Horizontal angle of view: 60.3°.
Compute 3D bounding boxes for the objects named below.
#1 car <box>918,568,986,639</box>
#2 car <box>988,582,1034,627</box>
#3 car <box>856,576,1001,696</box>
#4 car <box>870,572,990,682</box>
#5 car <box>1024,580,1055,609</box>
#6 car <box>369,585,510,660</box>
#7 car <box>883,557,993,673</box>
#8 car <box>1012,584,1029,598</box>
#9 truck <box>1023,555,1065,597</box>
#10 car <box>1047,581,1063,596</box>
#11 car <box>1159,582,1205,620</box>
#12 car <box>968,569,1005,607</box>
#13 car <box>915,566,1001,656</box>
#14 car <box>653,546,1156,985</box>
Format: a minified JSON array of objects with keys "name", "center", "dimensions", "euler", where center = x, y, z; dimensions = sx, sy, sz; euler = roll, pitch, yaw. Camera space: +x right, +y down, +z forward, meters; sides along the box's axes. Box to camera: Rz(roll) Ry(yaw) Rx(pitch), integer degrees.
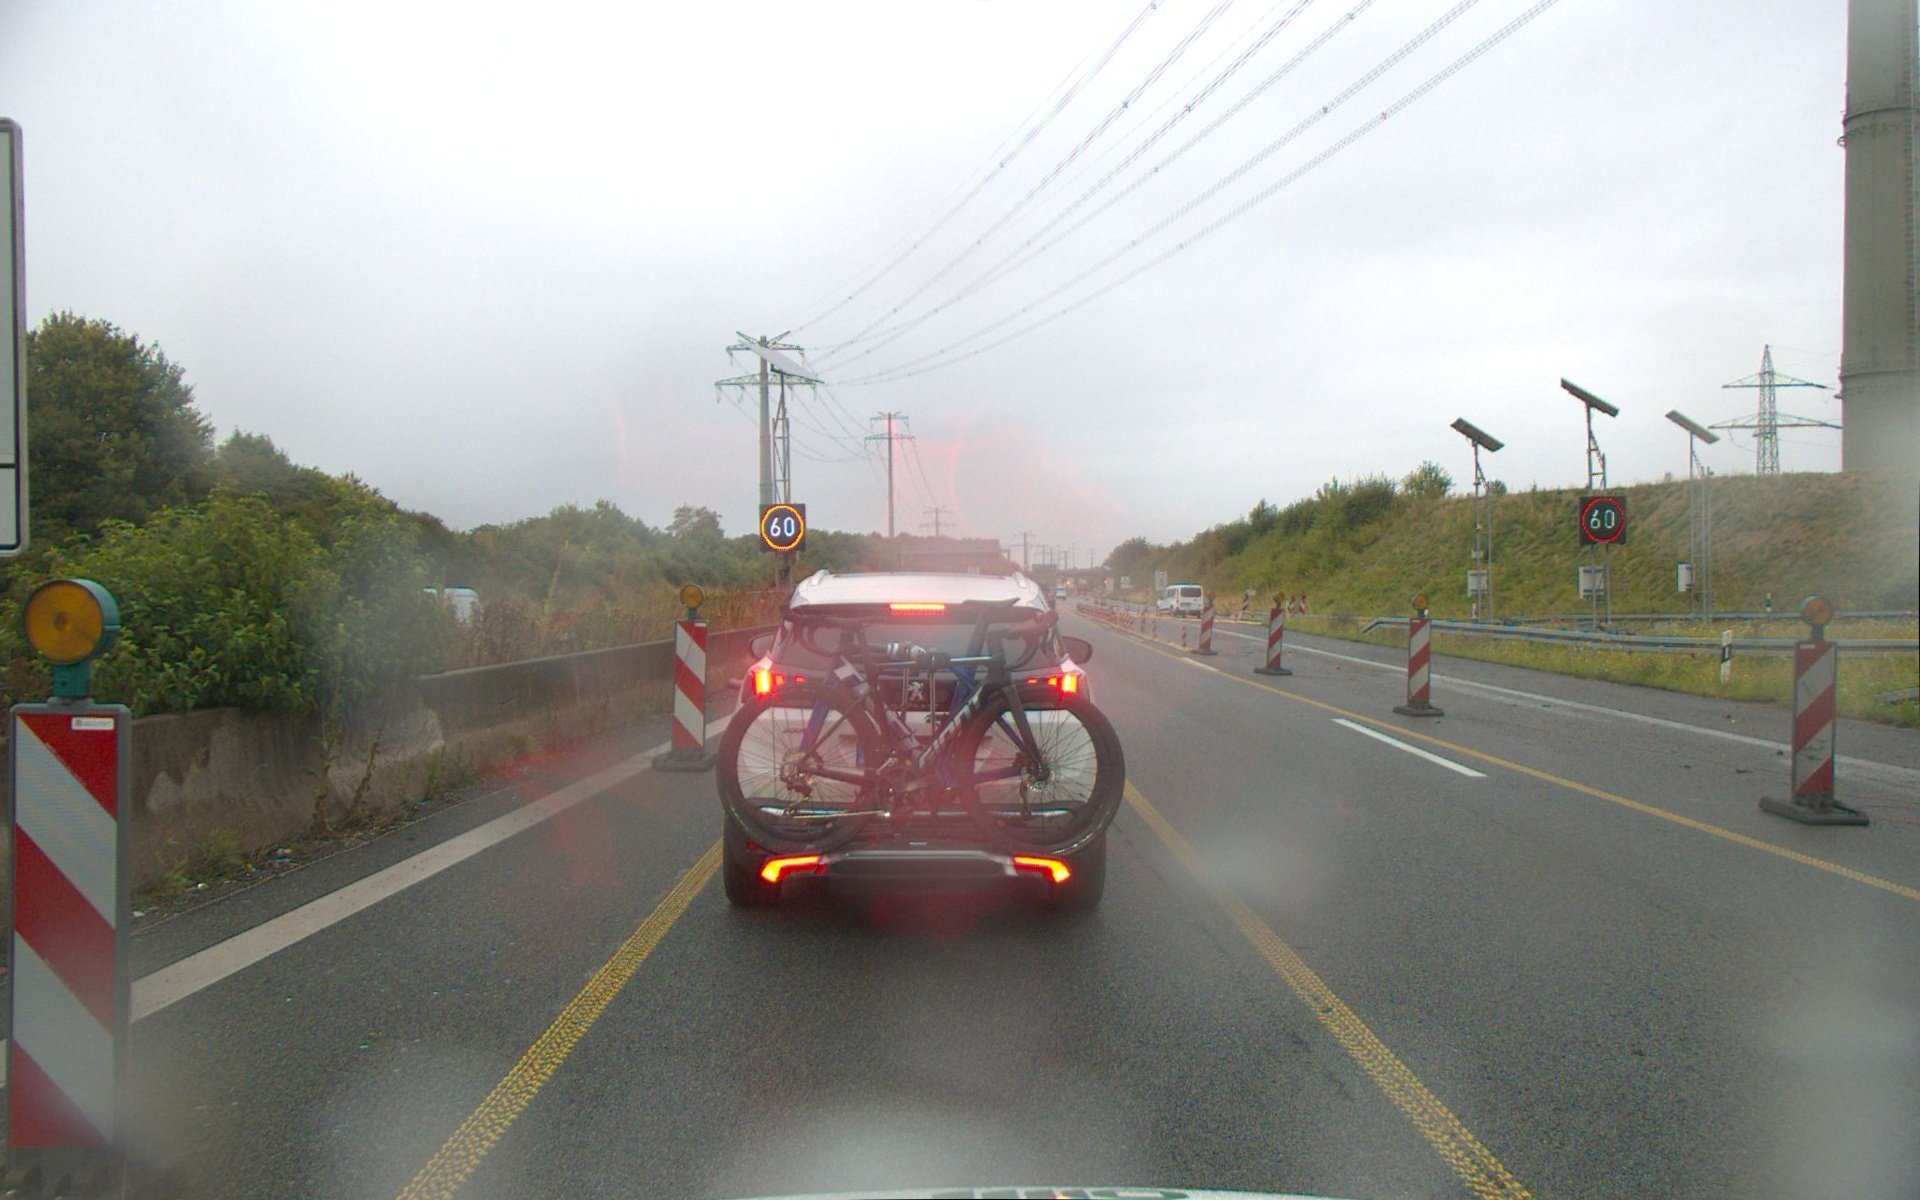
[{"name":"car","center":[-0.268,0.119,50.664],"dimensions":[1.953,2.049,3.999],"euler":[1,0,-1]},{"name":"car","center":[2.442,0.246,80.159],"dimensions":[1.953,2.049,3.998],"euler":[-1,-2,-2]},{"name":"car","center":[-0.461,0.470,24.408],"dimensions":[1.953,1.611,3.999],"euler":[0,0,-1]},{"name":"car","center":[-0.485,0.423,29.402],"dimensions":[1.952,1.791,4.000],"euler":[-1,1,0]},{"name":"car","center":[5.710,-0.376,119.387],"dimensions":[1.953,2.049,3.999],"euler":[1,0,-1]},{"name":"car","center":[-11.989,0.472,38.411],"dimensions":[1.830,1.570,4.746],"euler":[-1,1,-1]},{"name":"car","center":[-0.433,0.246,31.903],"dimensions":[1.953,2.049,3.999],"euler":[-1,0,-1]},{"name":"car","center":[7.865,-1.201,214.815],"dimensions":[1.953,1.765,3.782],"euler":[-1,1,-1]},{"name":"truck","center":[8.595,-2.517,171.034],"dimensions":[3.655,3.888,11.871],"euler":[1,3,0]},{"name":"car","center":[13.025,-1.607,226.933],"dimensions":[1.953,2.049,3.999],"euler":[1,1,-1]},{"name":"car","center":[12.460,0.017,93.011],"dimensions":[1.953,2.049,3.999],"euler":[-1,0,-1]},{"name":"car","center":[1.467,-0.698,93.736],"dimensions":[1.953,2.049,3.999],"euler":[-1,1,-1]},{"name":"car","center":[-0.079,0.262,40.209],"dimensions":[1.953,2.049,3.999],"euler":[1,0,-1]},{"name":"car","center":[-0.163,0.609,8.549],"dimensions":[1.888,1.639,4.596],"euler":[0,0,1]}]
